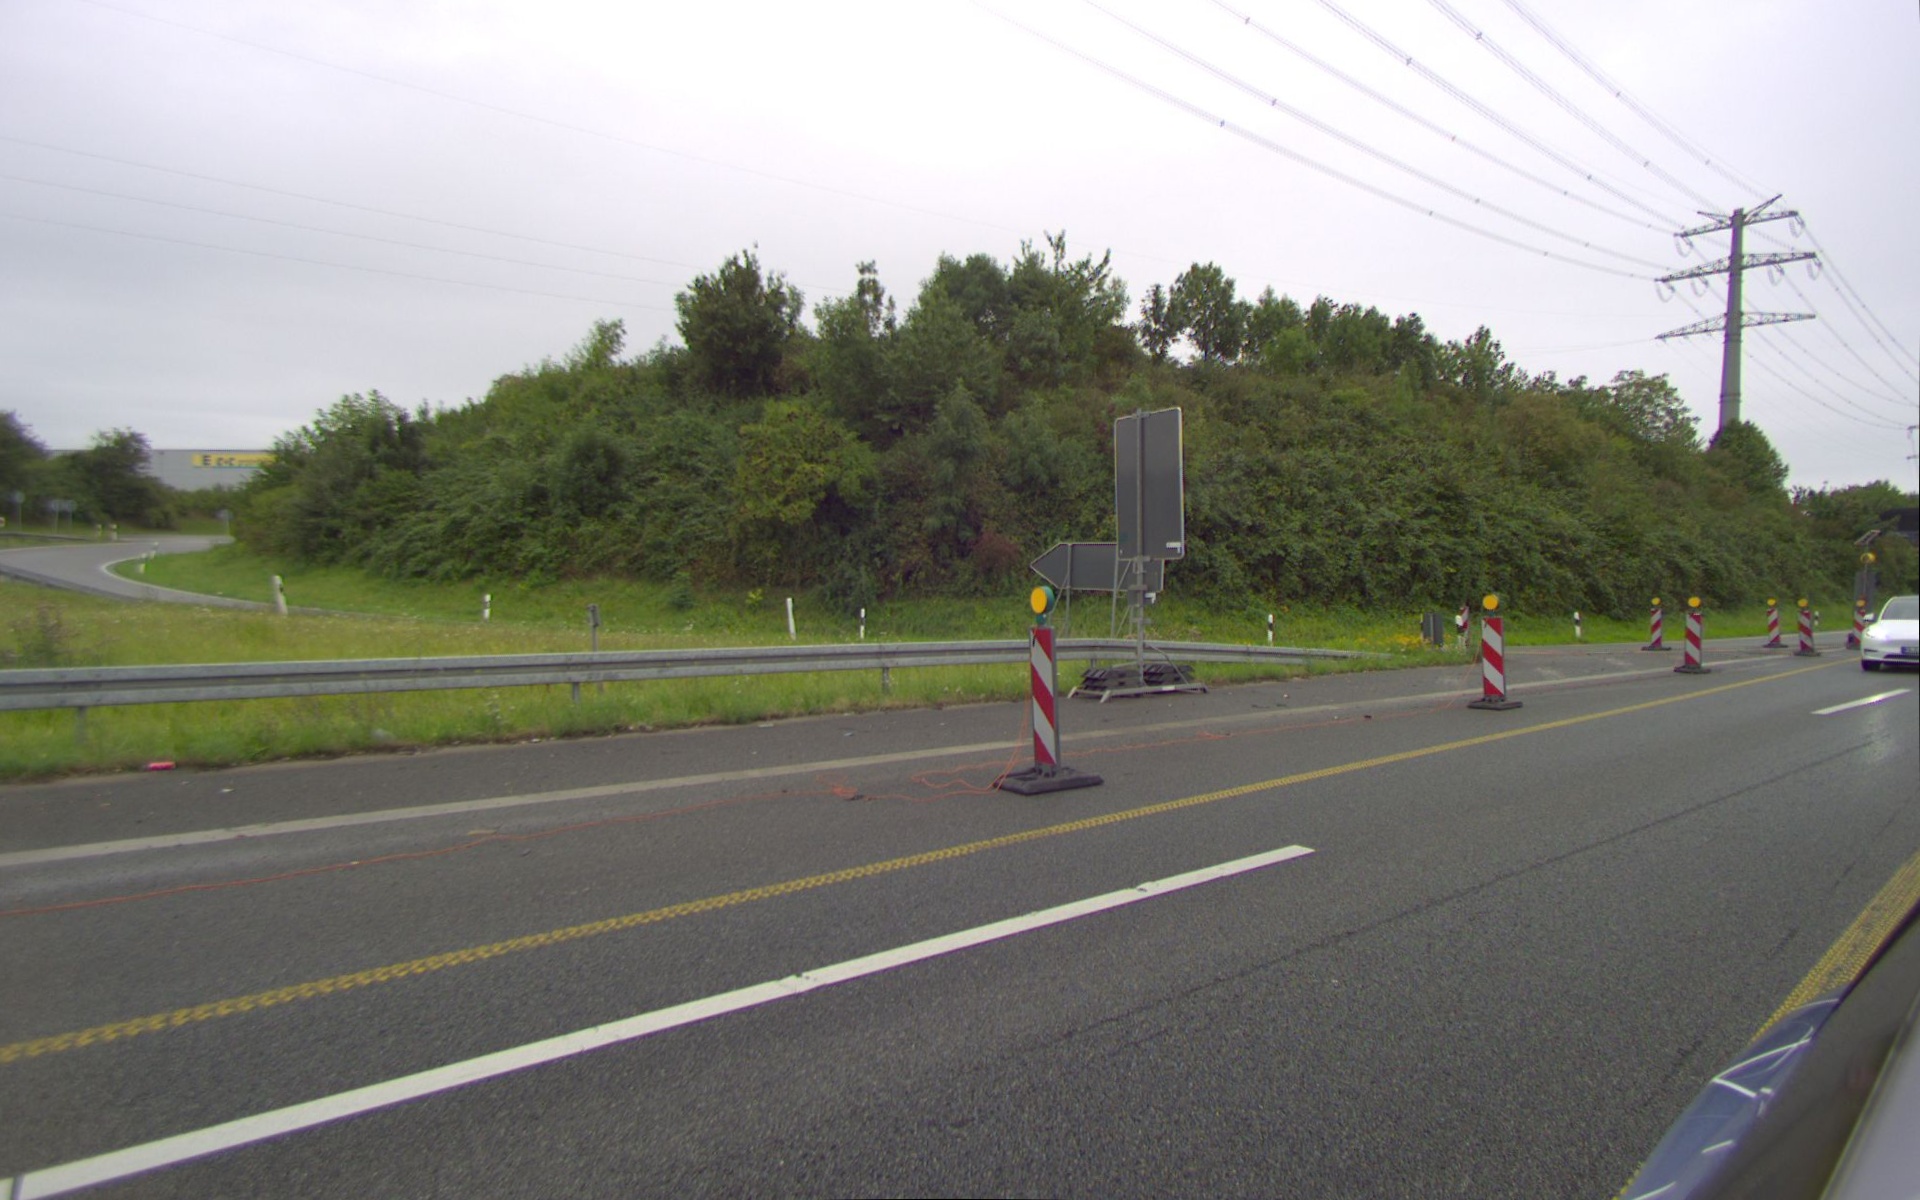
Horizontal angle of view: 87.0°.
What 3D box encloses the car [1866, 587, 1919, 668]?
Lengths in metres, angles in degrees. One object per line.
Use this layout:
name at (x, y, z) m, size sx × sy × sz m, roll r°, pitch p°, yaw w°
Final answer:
car at (21.518, 0.542, 21.979) m, size 5.700 × 1.616 × 2.049 m, roll 0°, pitch 0°, yaw -41°
